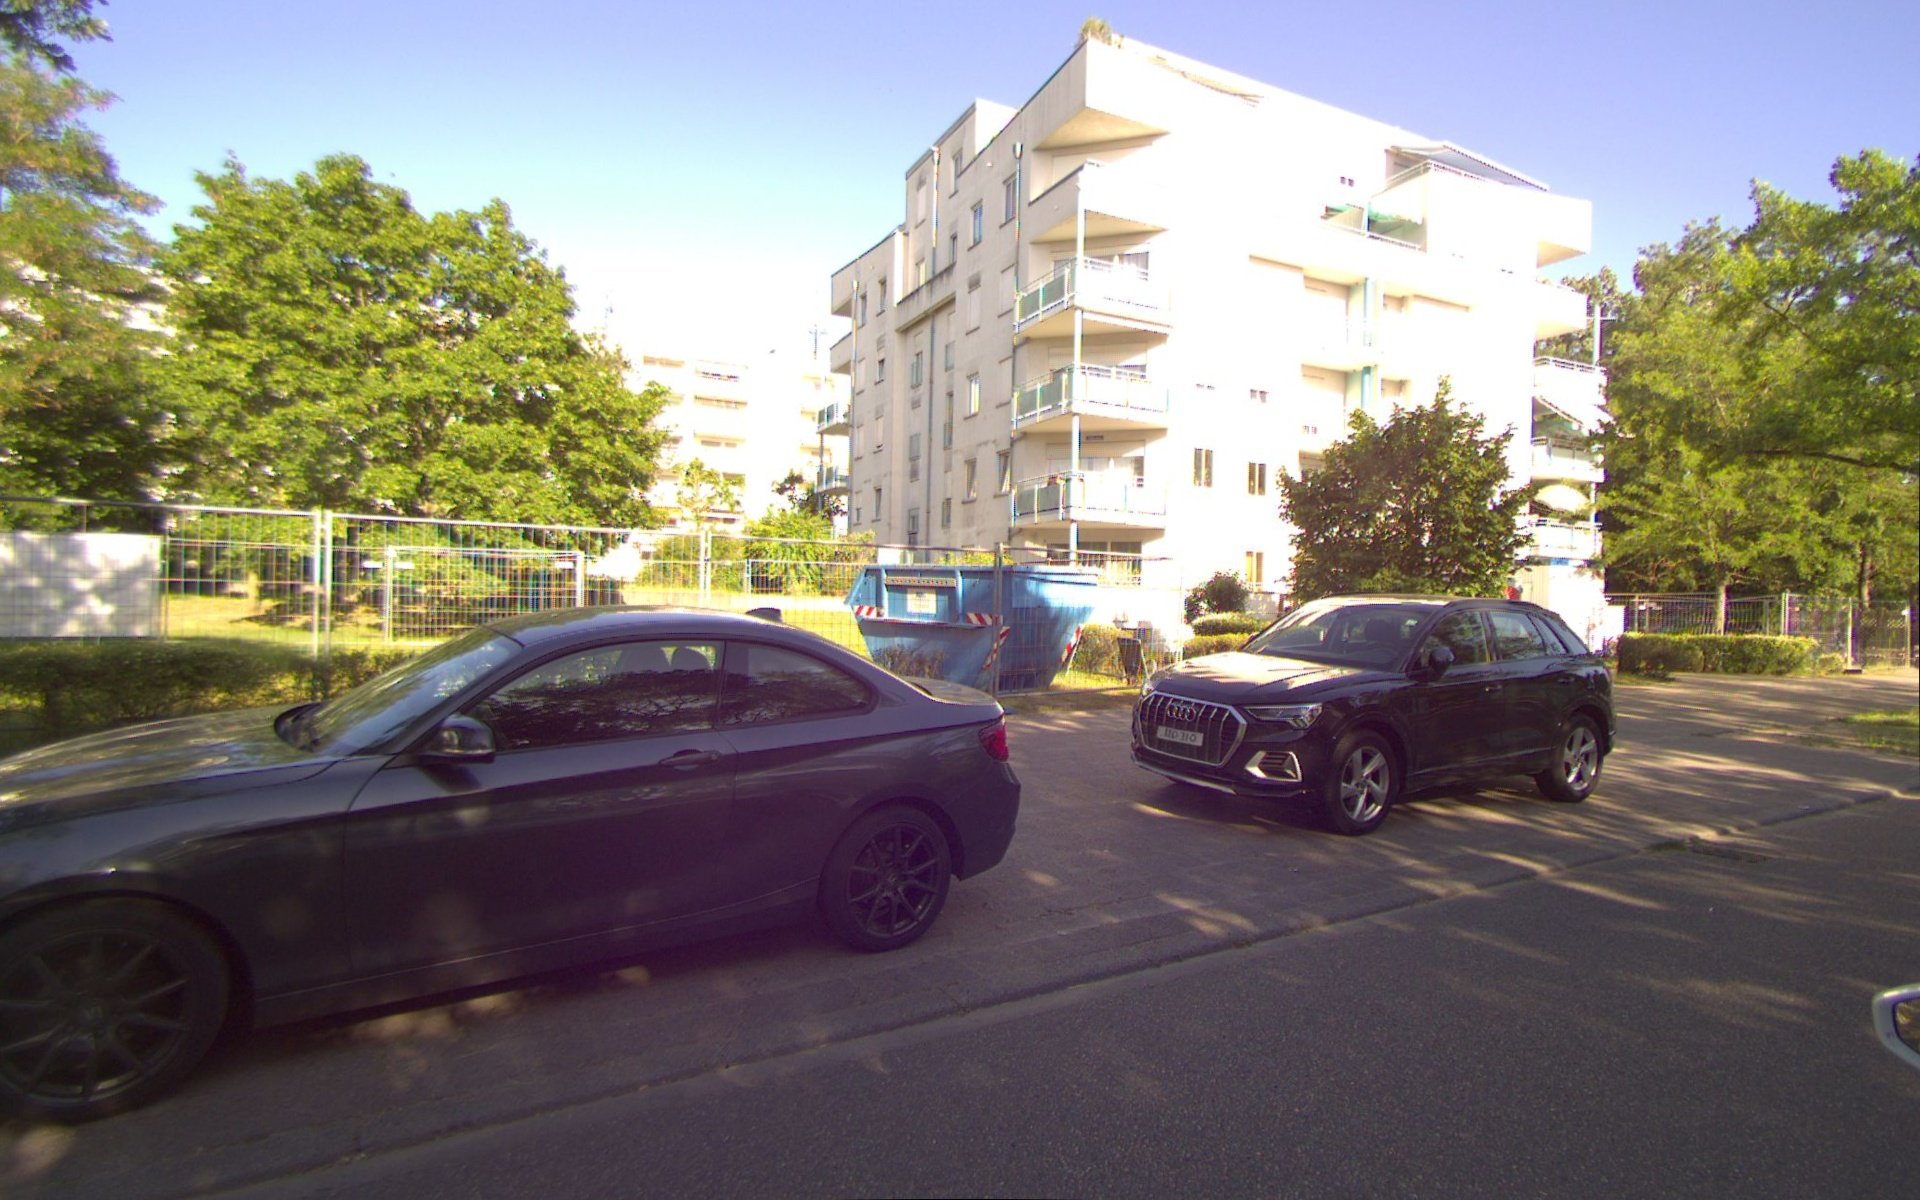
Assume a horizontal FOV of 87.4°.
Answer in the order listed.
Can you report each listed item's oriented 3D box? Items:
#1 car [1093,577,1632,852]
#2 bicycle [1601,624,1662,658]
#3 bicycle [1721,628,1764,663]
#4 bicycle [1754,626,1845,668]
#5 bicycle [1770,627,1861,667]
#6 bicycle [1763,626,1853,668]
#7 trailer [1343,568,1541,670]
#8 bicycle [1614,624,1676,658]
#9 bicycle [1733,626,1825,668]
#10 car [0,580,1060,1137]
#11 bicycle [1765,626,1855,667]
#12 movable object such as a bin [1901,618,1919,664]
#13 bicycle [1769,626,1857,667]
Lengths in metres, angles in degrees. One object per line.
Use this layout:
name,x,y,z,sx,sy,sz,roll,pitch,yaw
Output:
car,3.264,0.717,7.943,4.172,1.643,1.766,1,2,-31
bicycle,21.731,1.318,32.546,0.395,1.040,1.690,2,-1,-24
bicycle,23.974,1.386,30.770,1.680,1.040,0.397,2,-1,-29
bicycle,22.779,1.256,27.281,0.398,1.040,1.838,2,-1,-43
bicycle,24.200,1.309,28.442,0.398,1.040,1.896,2,-1,-43
bicycle,23.192,1.271,27.501,0.398,1.040,1.821,2,-1,-43
trailer,11.140,0.431,23.195,4.290,2.149,1.856,1,2,-27
bicycle,22.355,1.334,32.799,0.395,1.040,1.690,2,-1,-24
bicycle,21.916,1.252,26.914,0.398,1.040,1.851,2,-1,-43
car,-1.704,0.713,4.321,4.095,1.452,1.705,1,2,-35
bicycle,23.536,1.285,27.838,0.398,1.040,1.841,2,-1,-43
movable object such as a bin,31.222,1.317,32.006,1.300,1.454,1.273,1,0,-2
bicycle,23.855,1.294,28.119,0.398,1.040,1.820,2,-1,-43
